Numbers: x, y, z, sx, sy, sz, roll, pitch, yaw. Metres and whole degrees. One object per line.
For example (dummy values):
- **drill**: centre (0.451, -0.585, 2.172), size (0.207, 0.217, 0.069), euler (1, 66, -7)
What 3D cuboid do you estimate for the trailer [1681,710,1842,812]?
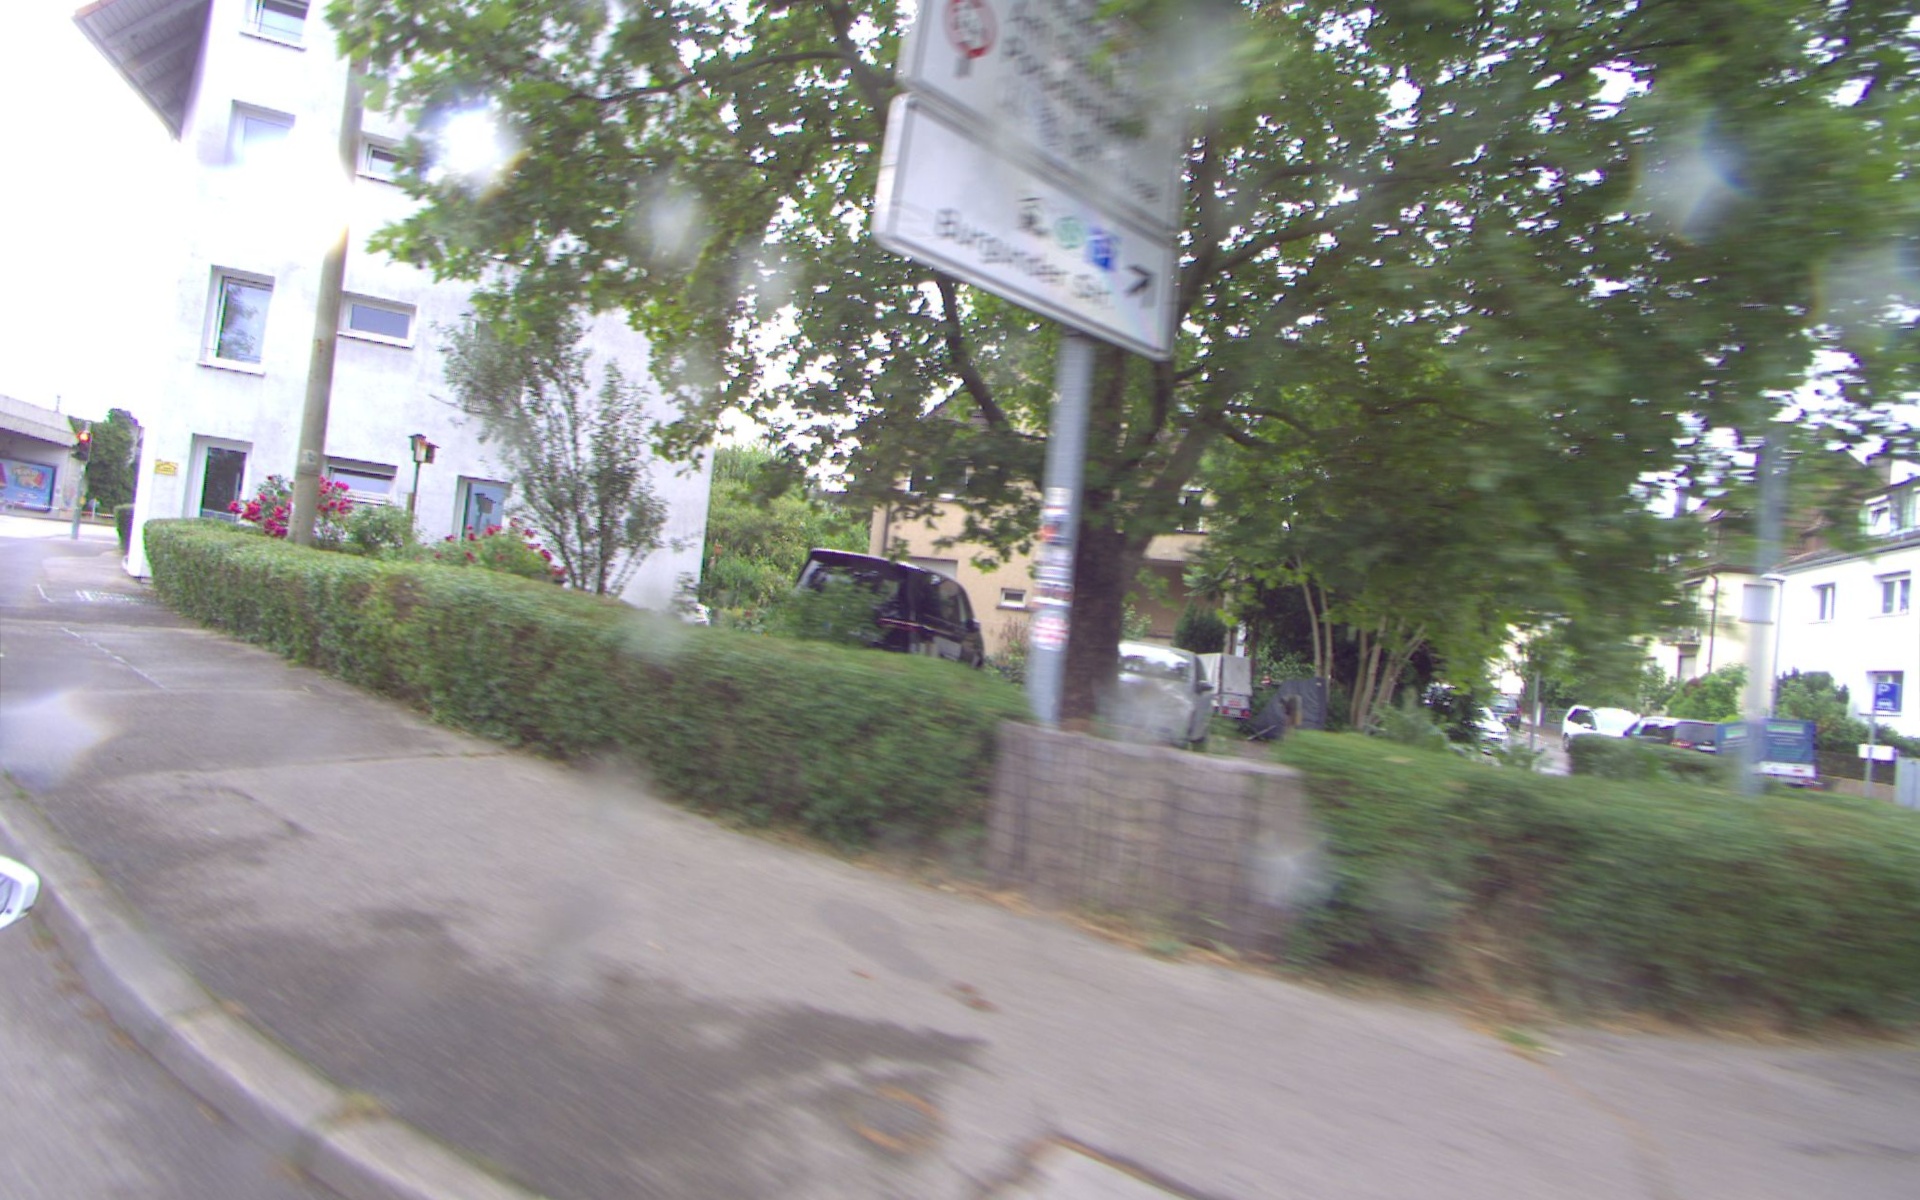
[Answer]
- **trailer**: centre (20.579, 4.072, 26.027), size (1.640, 2.037, 3.495), euler (7, -2, 11)

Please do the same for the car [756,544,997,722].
- **car**: centre (-0.983, 0.527, 14.615), size (1.962, 1.954, 4.420), euler (7, -2, 14)

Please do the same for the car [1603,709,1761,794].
- **car**: centre (21.341, 4.415, 30.002), size (1.962, 1.860, 4.585), euler (7, -2, 12)

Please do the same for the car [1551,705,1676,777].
- **car**: centre (22.710, 4.835, 35.175), size (1.962, 1.860, 4.585), euler (7, -2, 12)

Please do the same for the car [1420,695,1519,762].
- **car**: centre (15.789, 3.934, 31.370), size (1.962, 1.575, 4.003), euler (7, -2, 18)

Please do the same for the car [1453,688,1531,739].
- **car**: centre (25.891, 5.465, 49.085), size (1.962, 2.036, 4.006), euler (7, -2, 9)

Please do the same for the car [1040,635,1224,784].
- **car**: centre (2.619, 1.499, 14.440), size (1.789, 1.598, 4.003), euler (7, -2, 20)
